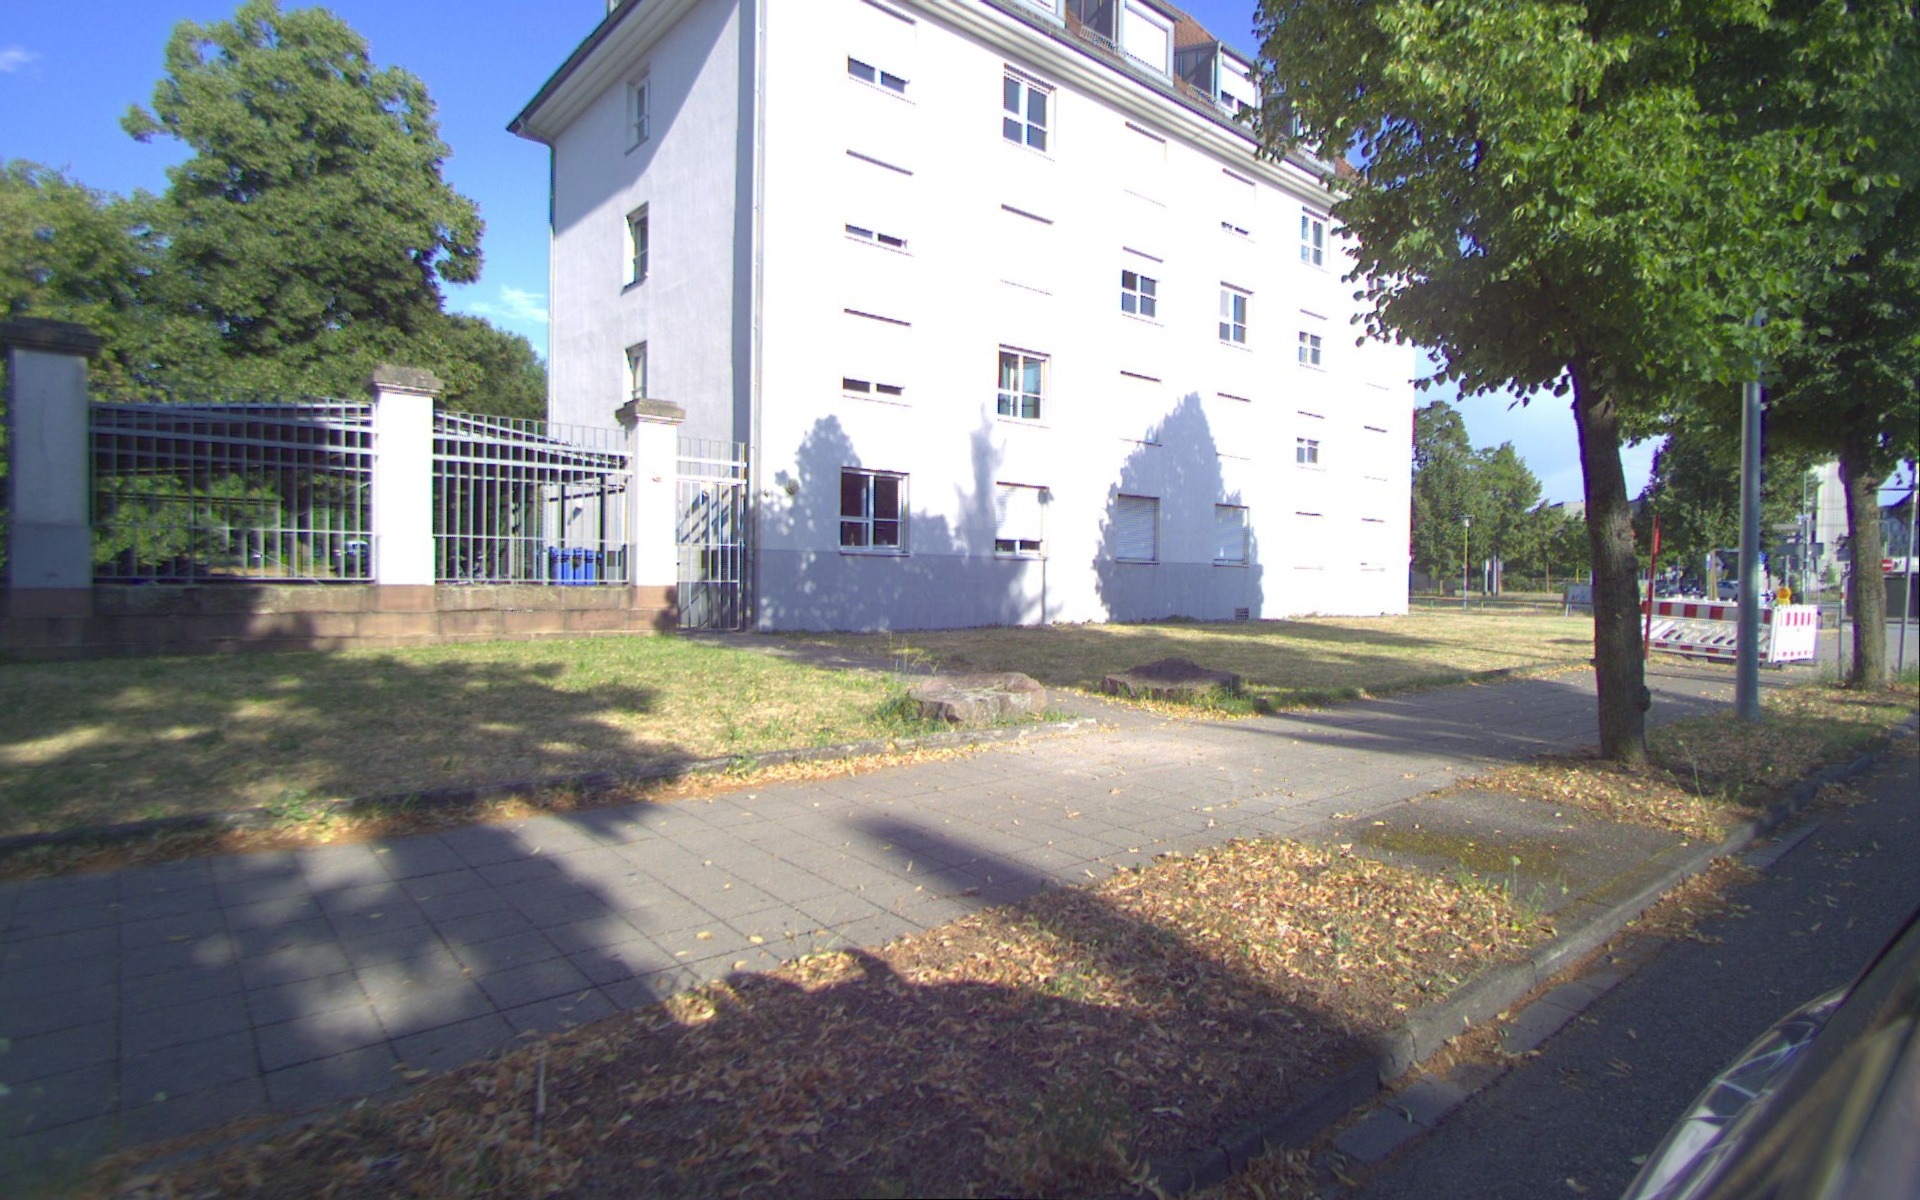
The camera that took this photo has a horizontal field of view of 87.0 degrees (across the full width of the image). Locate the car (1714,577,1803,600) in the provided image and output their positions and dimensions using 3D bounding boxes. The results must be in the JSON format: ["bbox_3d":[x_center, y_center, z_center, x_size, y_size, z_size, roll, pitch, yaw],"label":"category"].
[{"bbox_3d":[53.005,-0.773,67.288,2.053,1.401,4.595,0,2,-4],"label":"car"}]

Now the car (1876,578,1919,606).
[{"bbox_3d":[55.066,-0.412,57.329,1.958,1.549,4.278,1,2,-18],"label":"car"}]
